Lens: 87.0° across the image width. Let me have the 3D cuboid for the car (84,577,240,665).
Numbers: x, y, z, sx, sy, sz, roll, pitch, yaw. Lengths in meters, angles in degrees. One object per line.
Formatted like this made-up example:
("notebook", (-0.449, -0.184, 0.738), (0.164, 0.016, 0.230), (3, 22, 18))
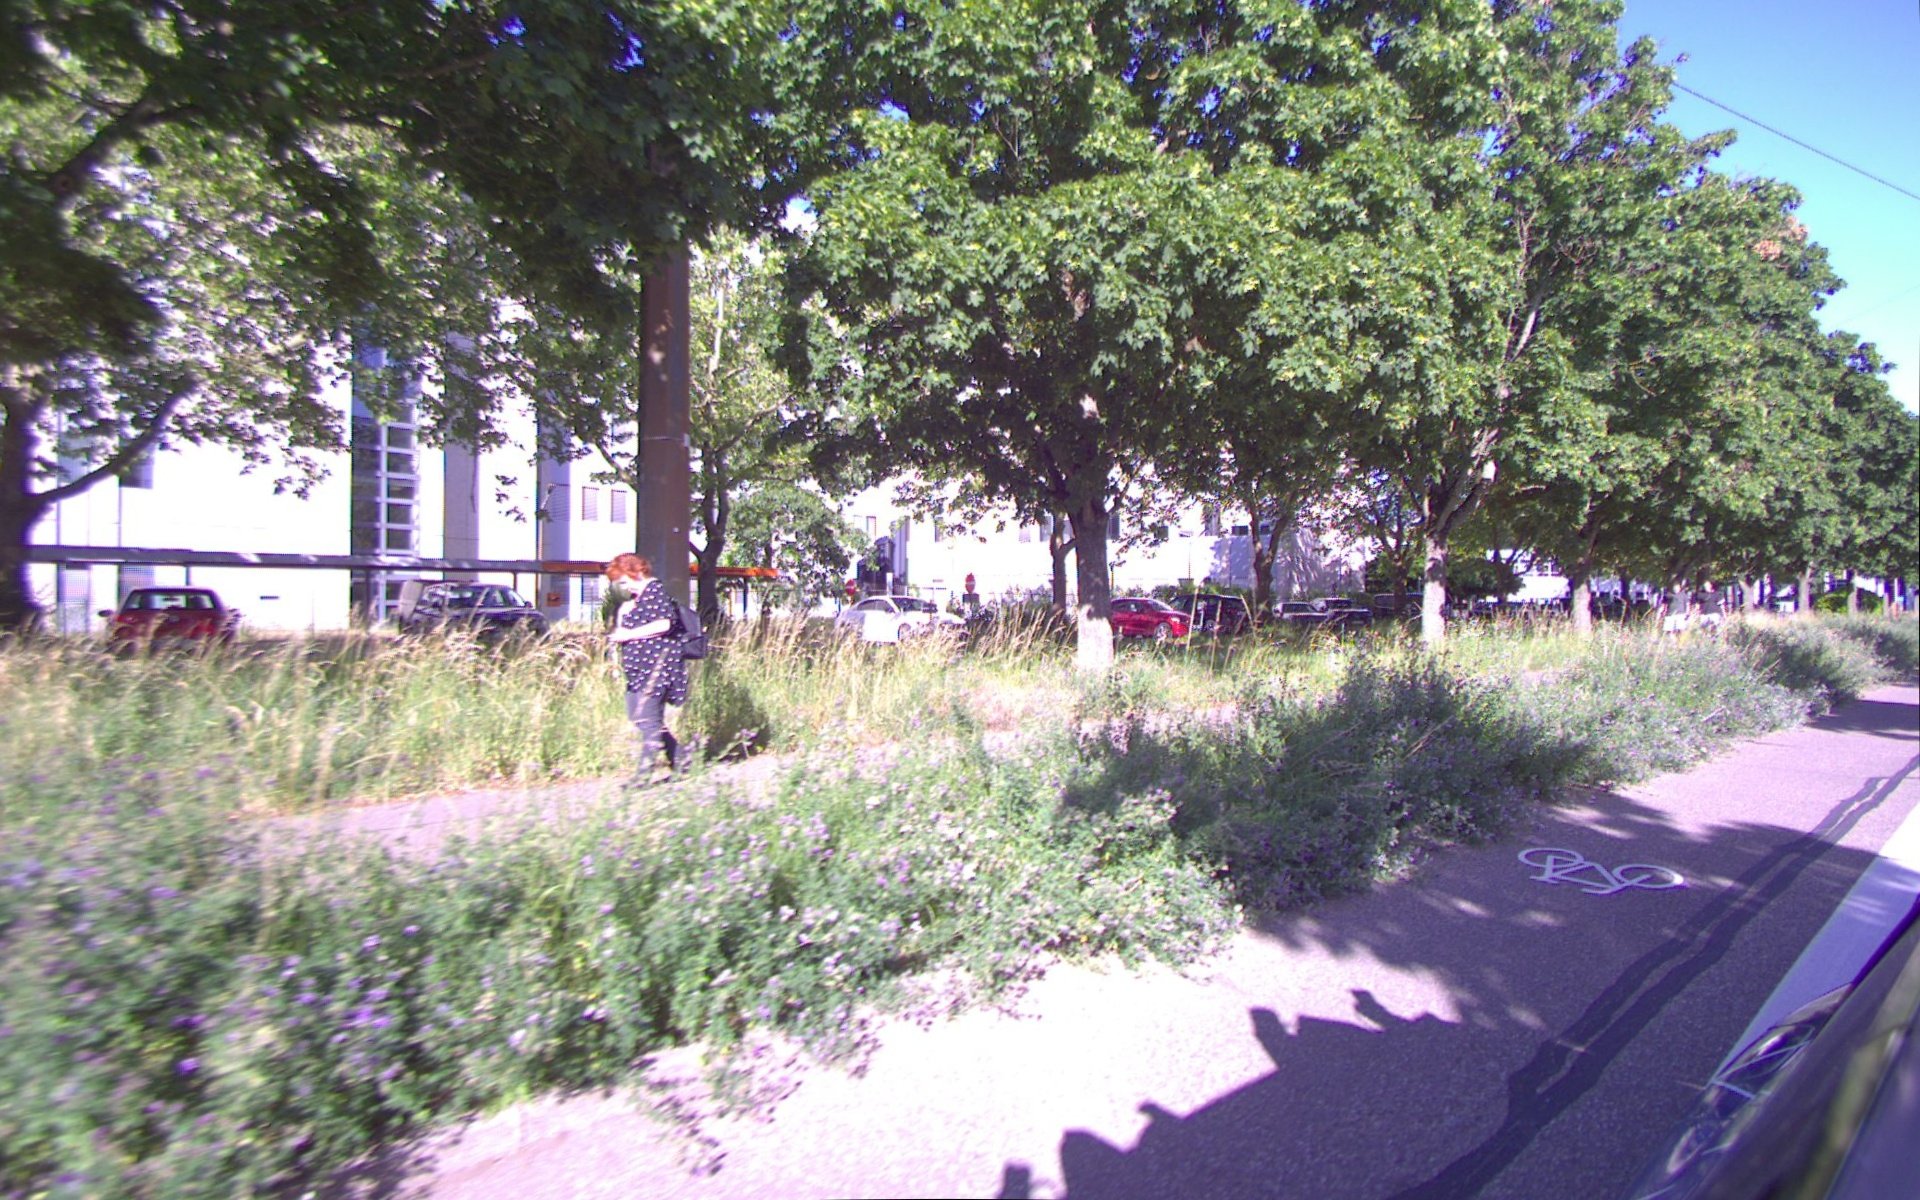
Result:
("car", (-13.872, 0.298, 17.797), (1.903, 1.341, 4.306), (2, 0, -36))

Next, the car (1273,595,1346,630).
("car", (14.114, 0.476, 41.071), (1.677, 1.358, 3.986), (0, 0, 1))

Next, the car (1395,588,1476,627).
("car", (22.984, 0.332, 49.161), (1.886, 1.774, 5.446), (0, 0, 7))

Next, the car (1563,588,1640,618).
("car", (41.858, 0.200, 66.165), (2.043, 1.900, 5.179), (0, 0, 5))

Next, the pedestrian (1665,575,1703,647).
("pedestrian", (20.263, 0.298, 28.312), (0.803, 1.955, 0.708), (0, -1, -43))

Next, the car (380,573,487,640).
("car", (-16.776, 0.169, 32.141), (1.940, 1.975, 4.757), (1, 0, -41))

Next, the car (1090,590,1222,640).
("car", (6.787, 0.474, 35.318), (4.226, 1.555, 1.740), (2, 1, 40))

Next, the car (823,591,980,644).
("car", (-1.707, 0.448, 28.088), (1.777, 1.287, 4.703), (2, 0, -43))

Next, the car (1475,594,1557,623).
("car", (31.042, 0.459, 56.680), (1.811, 1.534, 4.553), (0, 0, -5))

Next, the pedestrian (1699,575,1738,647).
("pedestrian", (20.765, 0.292, 27.693), (0.802, 1.942, 0.709), (0, -1, -42))

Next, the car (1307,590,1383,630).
("car", (16.485, 0.411, 43.559), (1.690, 1.659, 3.988), (0, 0, -1))

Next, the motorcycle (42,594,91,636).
("motorcycle", (-30.426, 0.474, 34.439), (3.033, 1.338, 1.000), (1, 0, 44))

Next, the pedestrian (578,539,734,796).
("pedestrian", (-2.052, 0.414, 6.814), (0.749, 1.589, 0.826), (0, -1, -40))

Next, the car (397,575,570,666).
("car", (-9.639, 0.339, 20.308), (1.852, 1.617, 4.395), (0, 0, -44))

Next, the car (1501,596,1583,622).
("car", (33.602, 0.495, 58.610), (1.811, 1.466, 4.553), (0, 0, -5))

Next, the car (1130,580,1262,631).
("car", (8.527, 0.154, 36.773), (4.330, 1.721, 1.740), (2, 1, 40))
